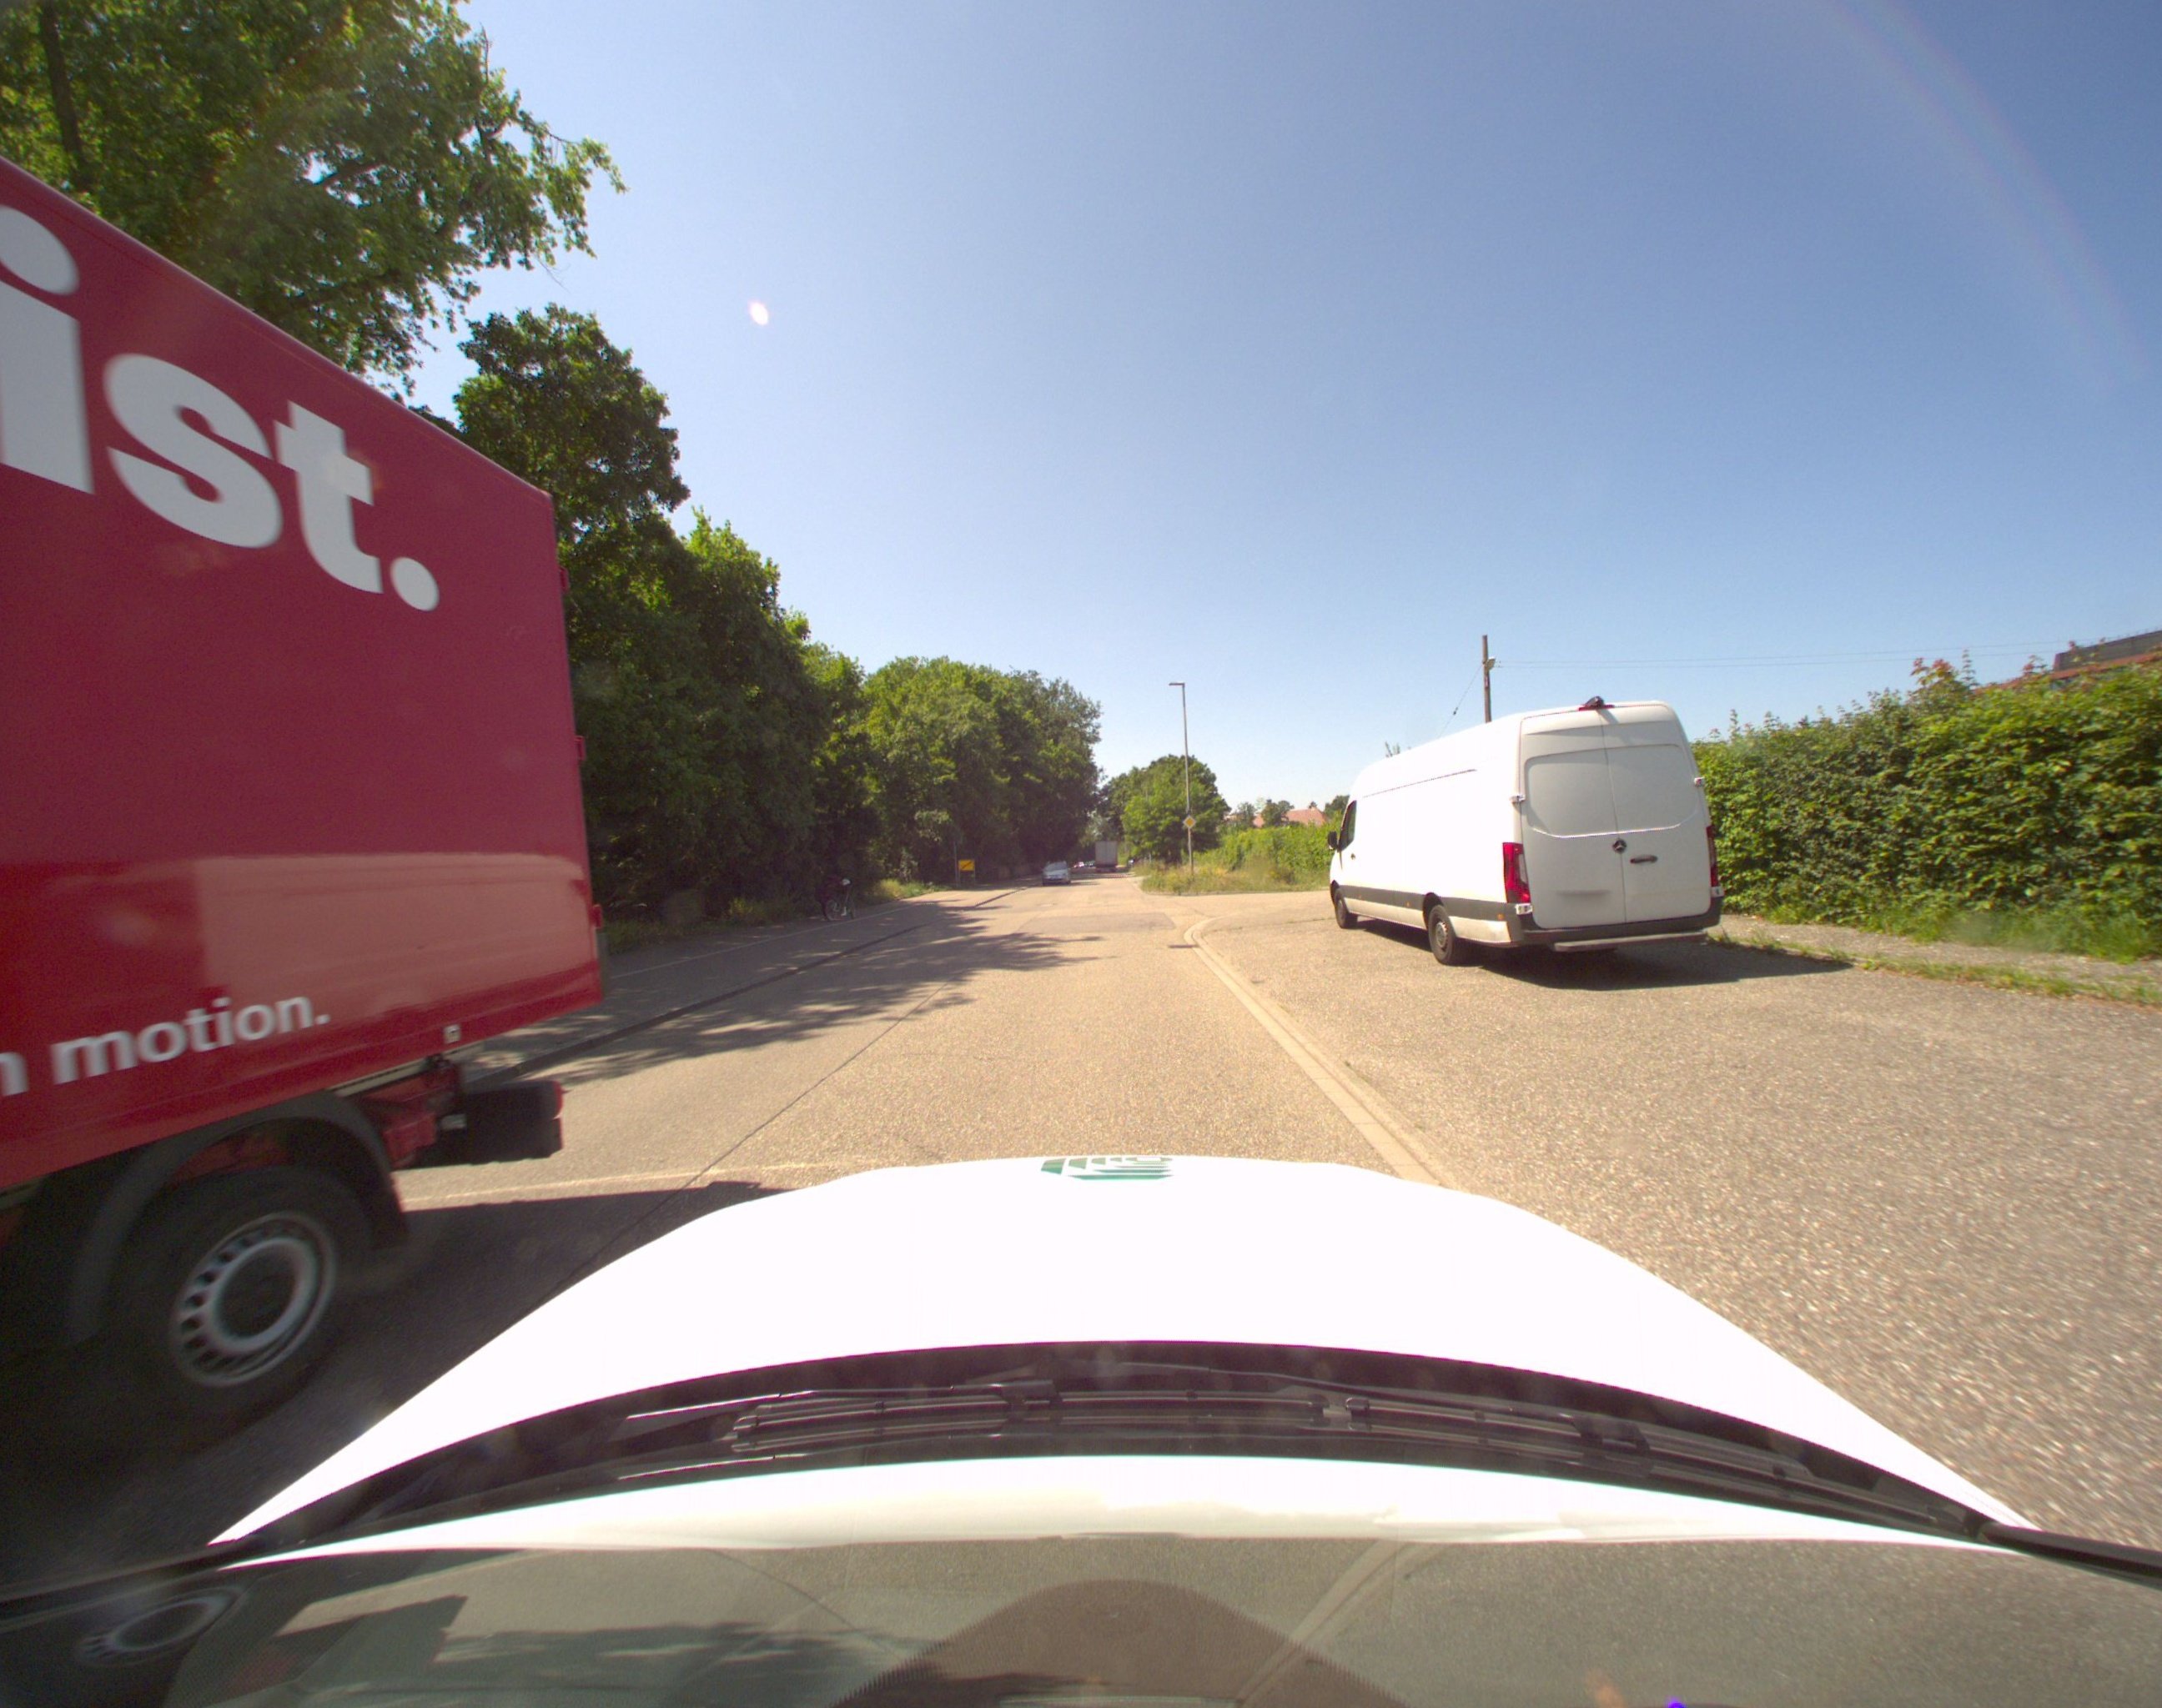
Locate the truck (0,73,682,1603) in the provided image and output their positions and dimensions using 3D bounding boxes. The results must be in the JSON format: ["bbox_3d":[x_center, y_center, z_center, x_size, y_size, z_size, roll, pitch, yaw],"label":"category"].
[{"bbox_3d":[-3.611,-0.034,0.824,2.313,3.440,7.165,-5,0,2],"label":"truck"}]

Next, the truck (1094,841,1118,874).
[{"bbox_3d":[3.144,0.436,99.824,2.723,3.746,13.252,-2,0,2],"label":"truck"}]

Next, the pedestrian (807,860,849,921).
[{"bbox_3d":[-7.410,1.054,23.881,0.802,1.718,0.780,-2,-1,17],"label":"pedestrian"}]

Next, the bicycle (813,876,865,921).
[{"bbox_3d":[-7.076,1.280,23.892,0.518,1.236,1.968,-1,-1,14],"label":"bicycle"}]

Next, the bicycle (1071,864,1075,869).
[{"bbox_3d":[-1.820,2.680,176.393,0.715,1.159,2.231,-3,0,2],"label":"bicycle"}]

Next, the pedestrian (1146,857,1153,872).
[{"bbox_3d":[8.269,1.308,98.481,0.736,1.738,0.885,-3,-1,0],"label":"pedestrian"}]

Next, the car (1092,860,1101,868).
[{"bbox_3d":[3.670,2.329,193.999,1.986,1.684,4.264,-3,0,2],"label":"car"}]

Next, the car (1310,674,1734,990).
[{"bbox_3d":[5.043,-0.211,11.046,1.946,2.733,7.172,-5,0,3],"label":"car"}]

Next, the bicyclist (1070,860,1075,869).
[{"bbox_3d":[-1.841,2.281,176.391,0.829,1.716,0.958,-3,-1,2],"label":"bicyclist"}]

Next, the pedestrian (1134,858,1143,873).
[{"bbox_3d":[6.874,1.378,97.326,0.860,1.677,0.885,-3,-1,0],"label":"pedestrian"}]

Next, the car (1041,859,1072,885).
[{"bbox_3d":[-1.592,1.200,54.838,1.785,1.572,4.273,-3,0,1],"label":"car"}]
